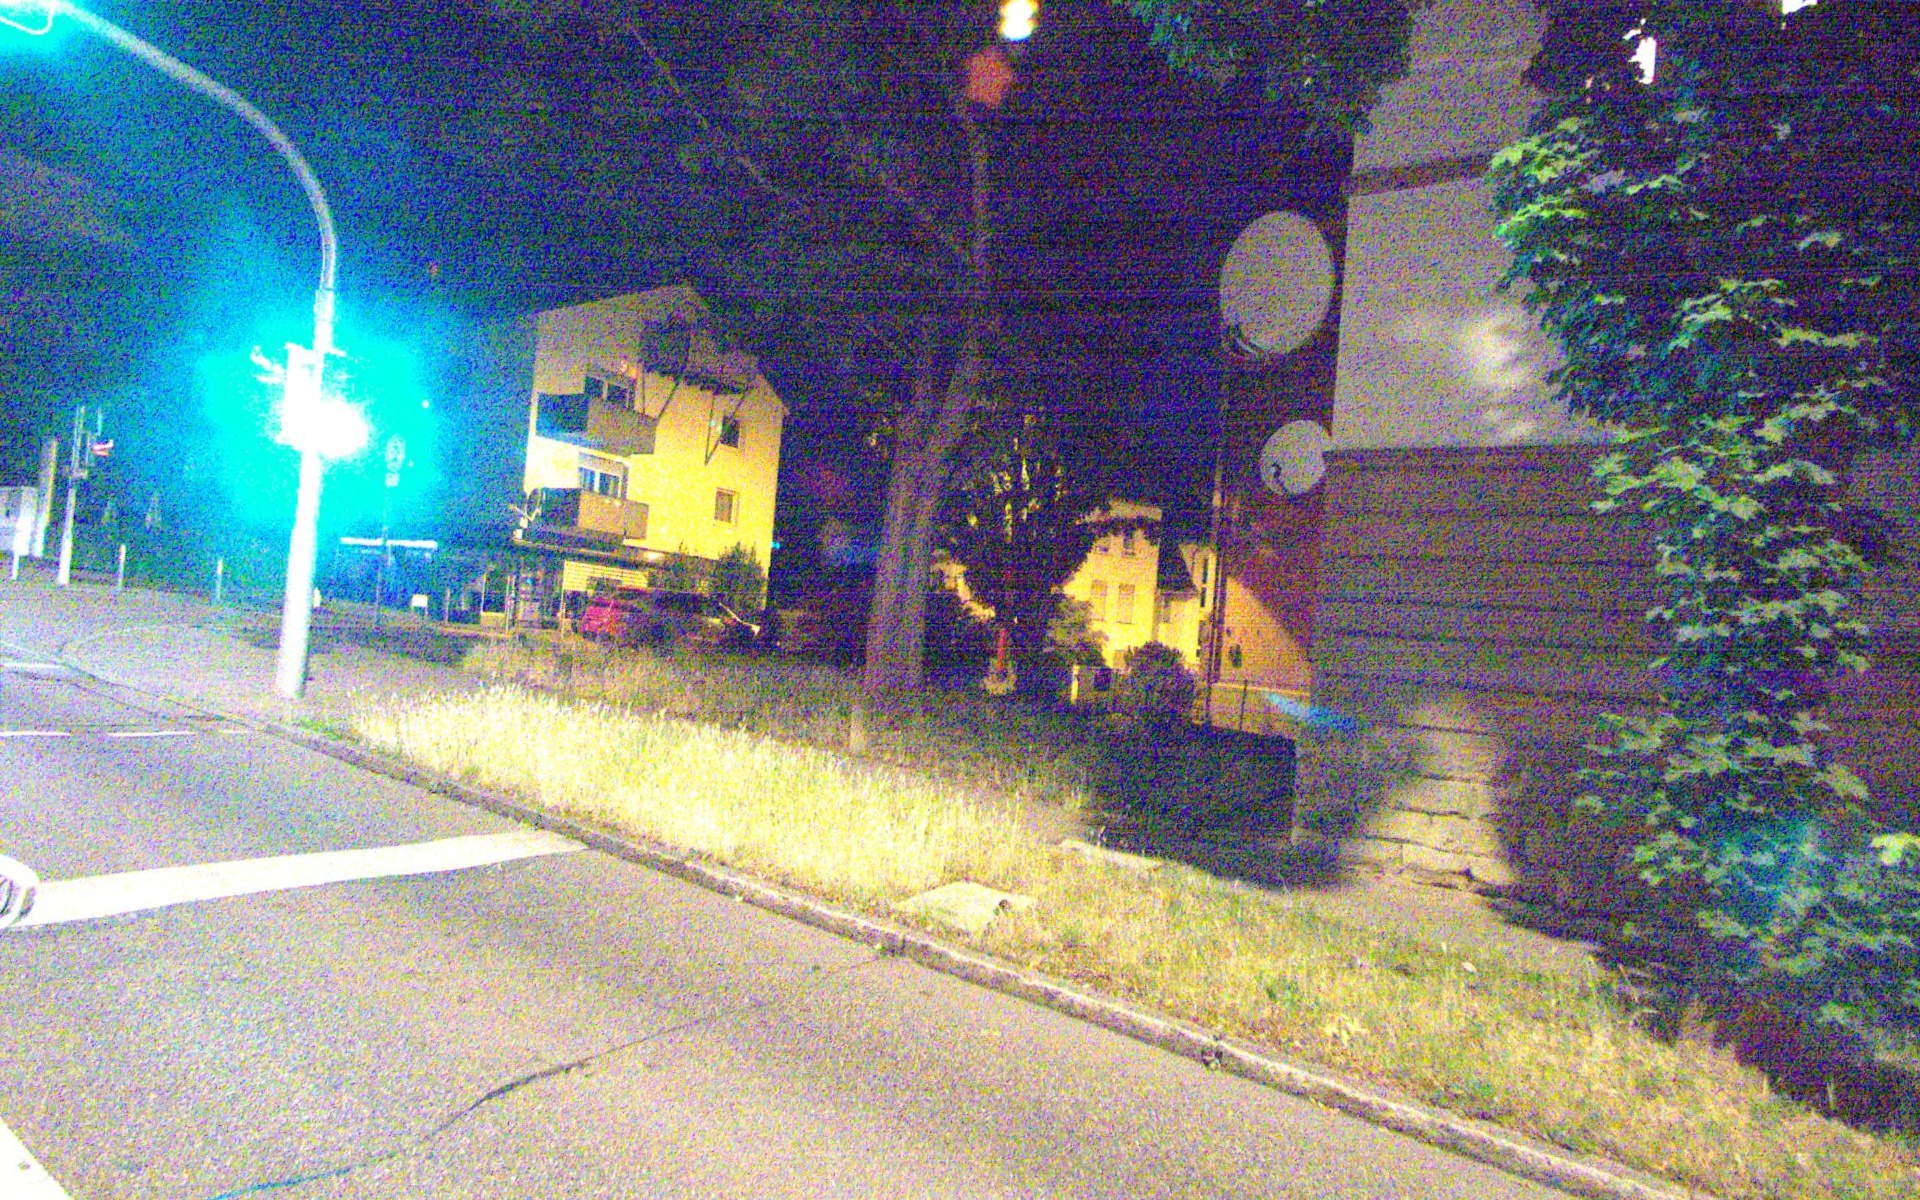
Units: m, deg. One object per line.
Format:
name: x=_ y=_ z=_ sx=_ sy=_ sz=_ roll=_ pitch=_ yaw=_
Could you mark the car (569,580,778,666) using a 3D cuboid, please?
car: x=-6.511 y=0.582 z=23.299 sx=1.778 sy=1.577 sz=4.366 roll=3 pitch=-3 yaw=38
